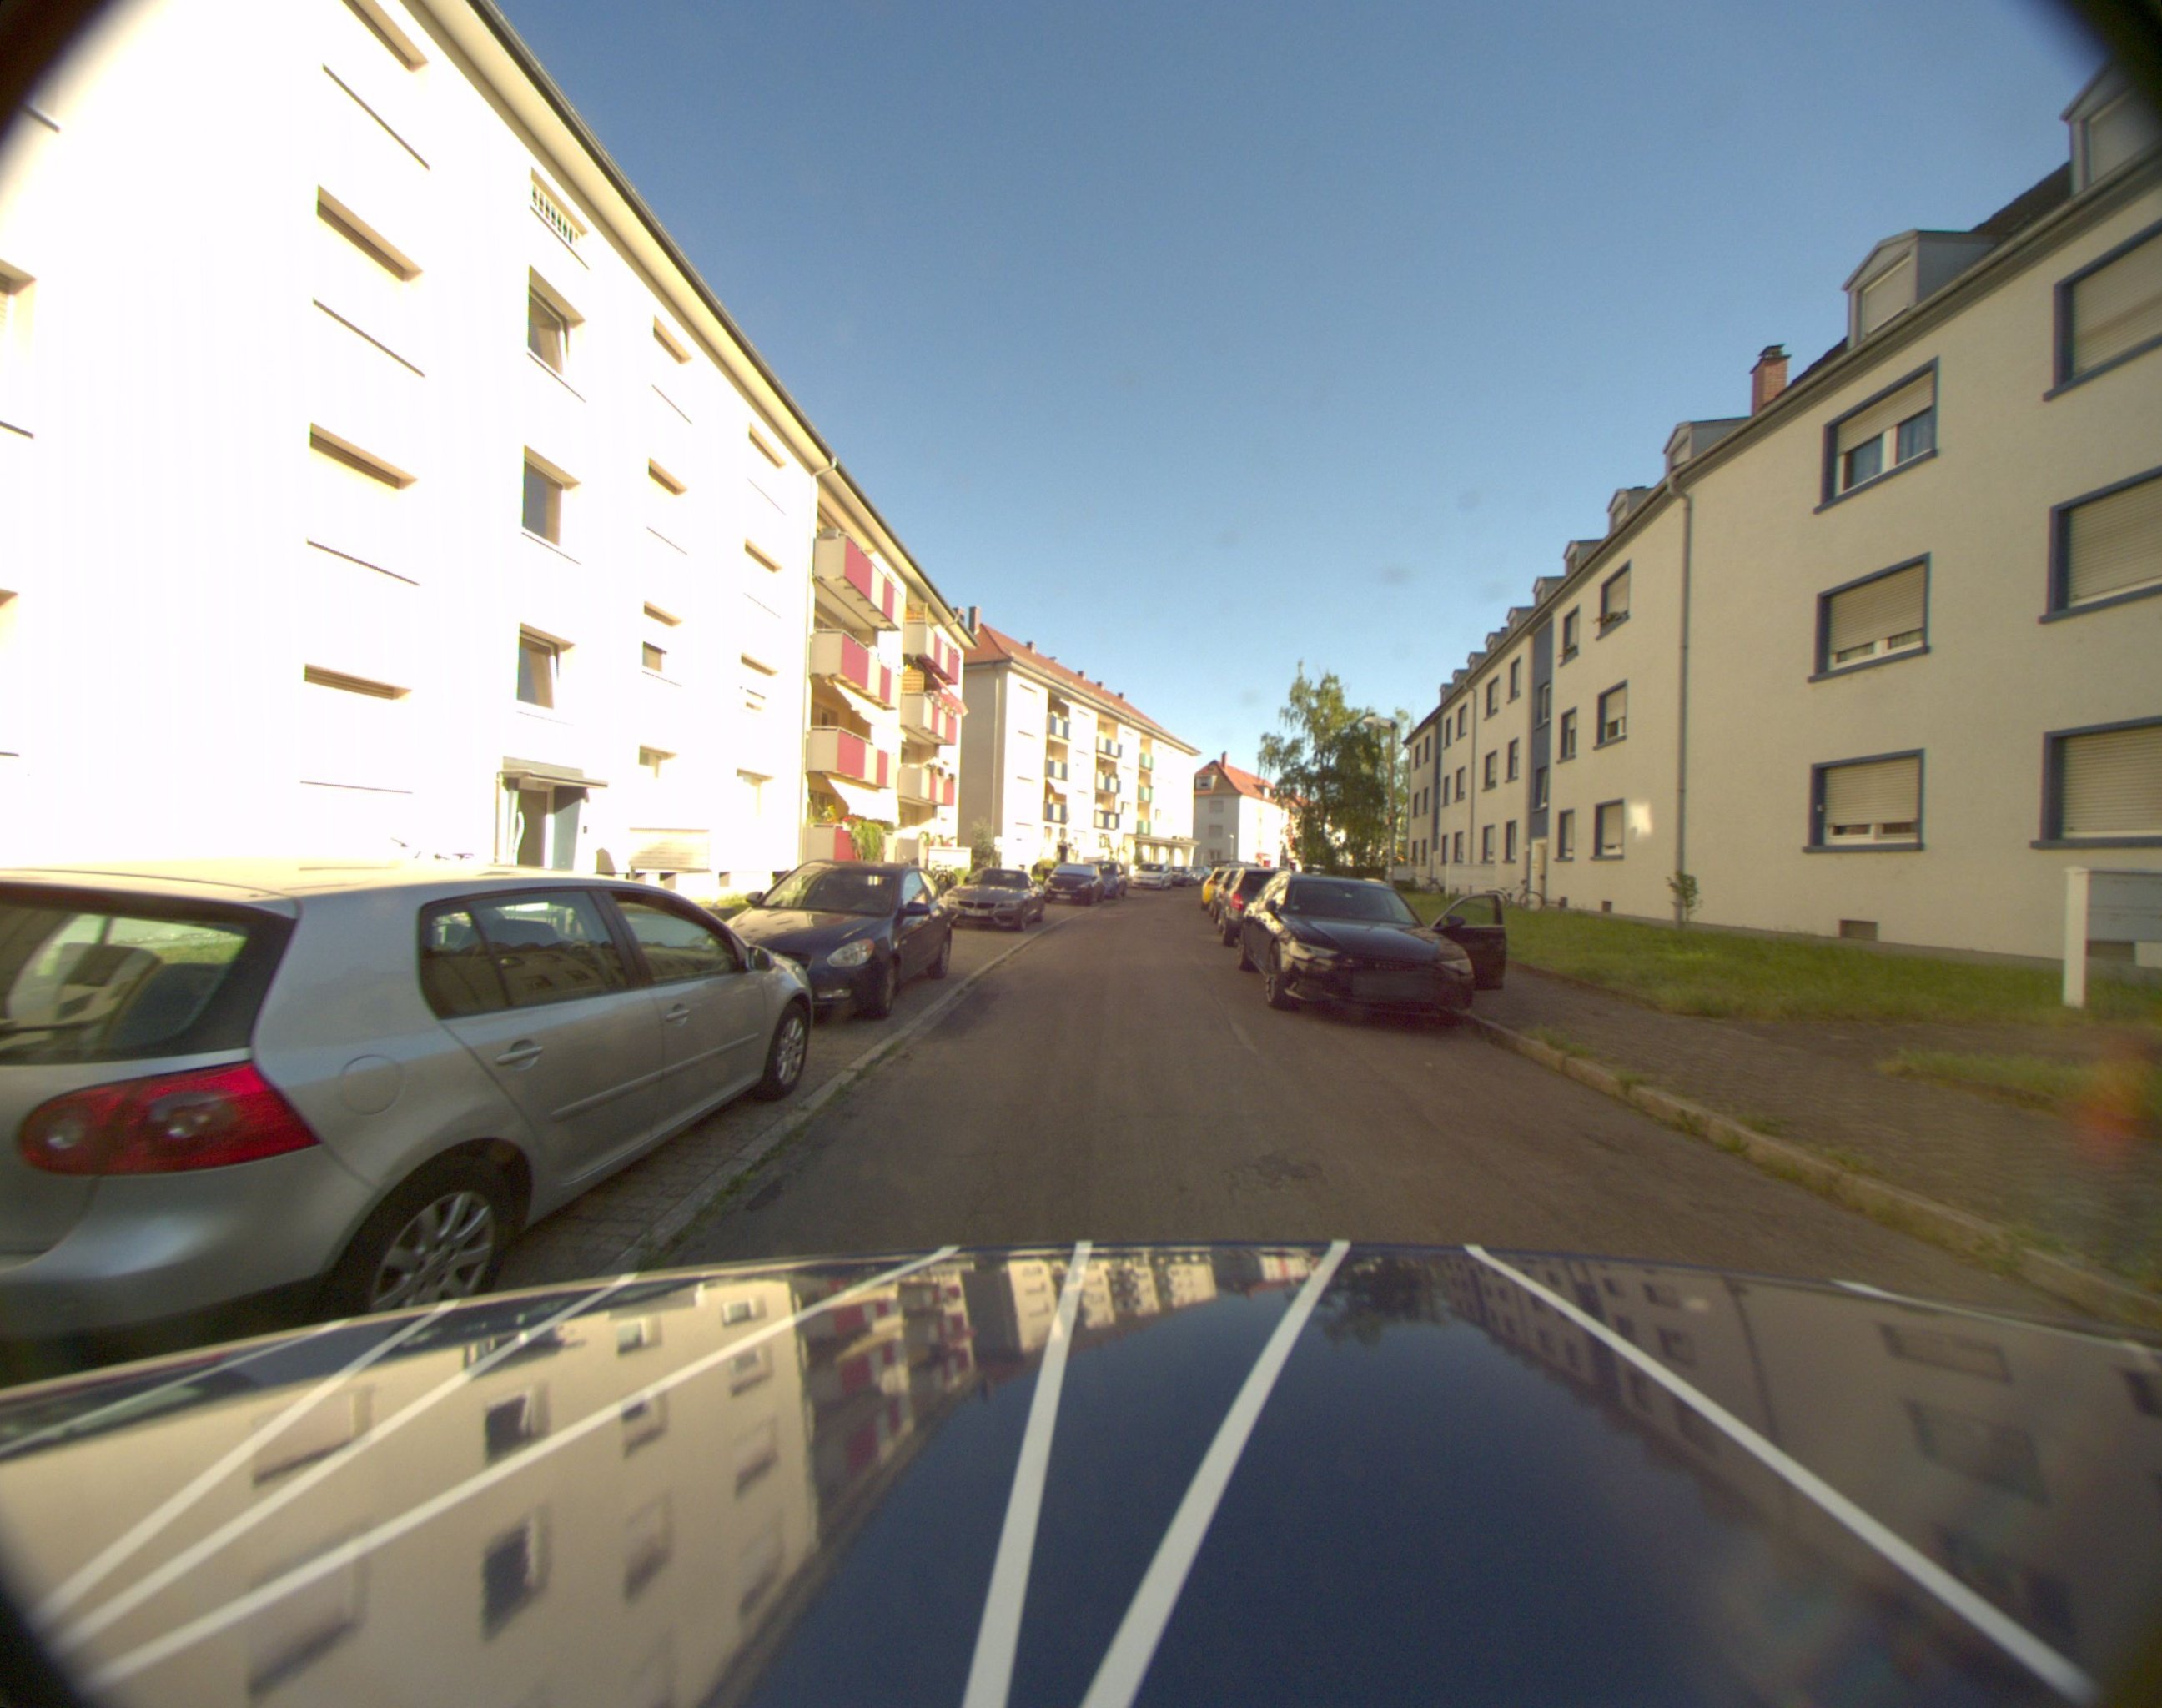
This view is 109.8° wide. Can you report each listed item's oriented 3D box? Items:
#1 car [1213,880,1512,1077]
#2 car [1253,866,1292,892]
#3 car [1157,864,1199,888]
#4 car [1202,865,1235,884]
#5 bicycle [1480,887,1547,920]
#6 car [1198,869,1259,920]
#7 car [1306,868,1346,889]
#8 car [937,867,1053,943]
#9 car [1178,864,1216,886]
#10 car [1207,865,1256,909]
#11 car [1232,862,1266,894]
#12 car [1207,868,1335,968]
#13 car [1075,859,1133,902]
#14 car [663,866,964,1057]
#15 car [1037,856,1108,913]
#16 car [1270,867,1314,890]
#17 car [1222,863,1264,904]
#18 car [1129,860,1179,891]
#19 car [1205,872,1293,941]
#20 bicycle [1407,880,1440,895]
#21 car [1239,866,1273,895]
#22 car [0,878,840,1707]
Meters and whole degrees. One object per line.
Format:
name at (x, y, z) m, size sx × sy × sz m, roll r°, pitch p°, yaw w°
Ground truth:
car at (2.886, 1.179, 8.966) m, size 1.904 × 1.450 × 4.397 m, roll 5°, pitch 0°, yaw 2°
car at (13.183, 1.738, 52.284) m, size 1.638 × 1.566 × 3.656 m, roll 5°, pitch 0°, yaw 28°
car at (6.573, 1.471, 51.210) m, size 1.754 × 1.420 × 4.475 m, roll 4°, pitch 0°, yaw 21°
car at (11.423, 1.686, 62.765) m, size 1.754 × 1.420 × 4.099 m, roll 4°, pitch 0°, yaw 23°
bicycle at (13.359, 1.539, 23.510) m, size 1.733 × 0.984 × 0.463 m, roll -1°, pitch 0°, yaw 15°
car at (4.898, 1.288, 25.325) m, size 1.717 × 1.403 × 3.987 m, roll 5°, pitch 0°, yaw 11°
car at (19.242, 1.925, 59.554) m, size 3.290 × 1.417 × 1.444 m, roll 5°, pitch 0°, yaw -43°
car at (-1.821, 1.061, 17.305) m, size 1.676 × 1.411 × 3.862 m, roll 4°, pitch 0°, yaw 7°
car at (8.677, 1.560, 56.742) m, size 1.754 × 1.420 × 4.099 m, roll 4°, pitch 0°, yaw 23°
car at (6.234, 1.322, 31.233) m, size 1.639 × 1.539 × 3.653 m, roll 5°, pitch 0°, yaw 14°
car at (9.514, 1.334, 42.883) m, size 1.639 × 1.631 × 3.653 m, roll 5°, pitch 0°, yaw 14°
car at (3.582, 1.131, 15.004) m, size 1.745 × 1.507 × 3.985 m, roll 5°, pitch 0°, yaw 5°
car at (1.044, 1.119, 32.881) m, size 1.755 × 1.724 × 4.005 m, roll -2°, pitch -1°, yaw 12°
car at (-2.542, 0.925, 8.279) m, size 1.667 × 1.440 × 3.861 m, roll 4°, pitch 0°, yaw 3°
car at (-0.224, 1.043, 27.208) m, size 1.580 × 1.752 × 4.243 m, roll 4°, pitch 0°, yaw 11°
car at (15.777, 1.834, 56.719) m, size 1.571 × 1.417 × 3.989 m, roll 5°, pitch 0°, yaw 41°
car at (7.875, 1.394, 36.691) m, size 1.639 × 1.692 × 3.653 m, roll 5°, pitch 0°, yaw 15°
car at (4.398, 1.272, 45.133) m, size 1.754 × 1.625 × 4.413 m, roll 4°, pitch 0°, yaw 21°
car at (4.285, 1.280, 19.920) m, size 1.718 × 1.403 × 3.985 m, roll 5°, pitch 0°, yaw 6°
bicycle at (17.119, 1.680, 38.018) m, size 1.457 × 0.760 × 0.310 m, roll -1°, pitch 0°, yaw 15°
car at (11.015, 1.641, 47.590) m, size 1.639 × 1.566 × 3.654 m, roll 5°, pitch 0°, yaw 18°
car at (-2.605, 0.934, 3.288) m, size 1.643 × 1.450 × 3.861 m, roll 4°, pitch 0°, yaw 3°
